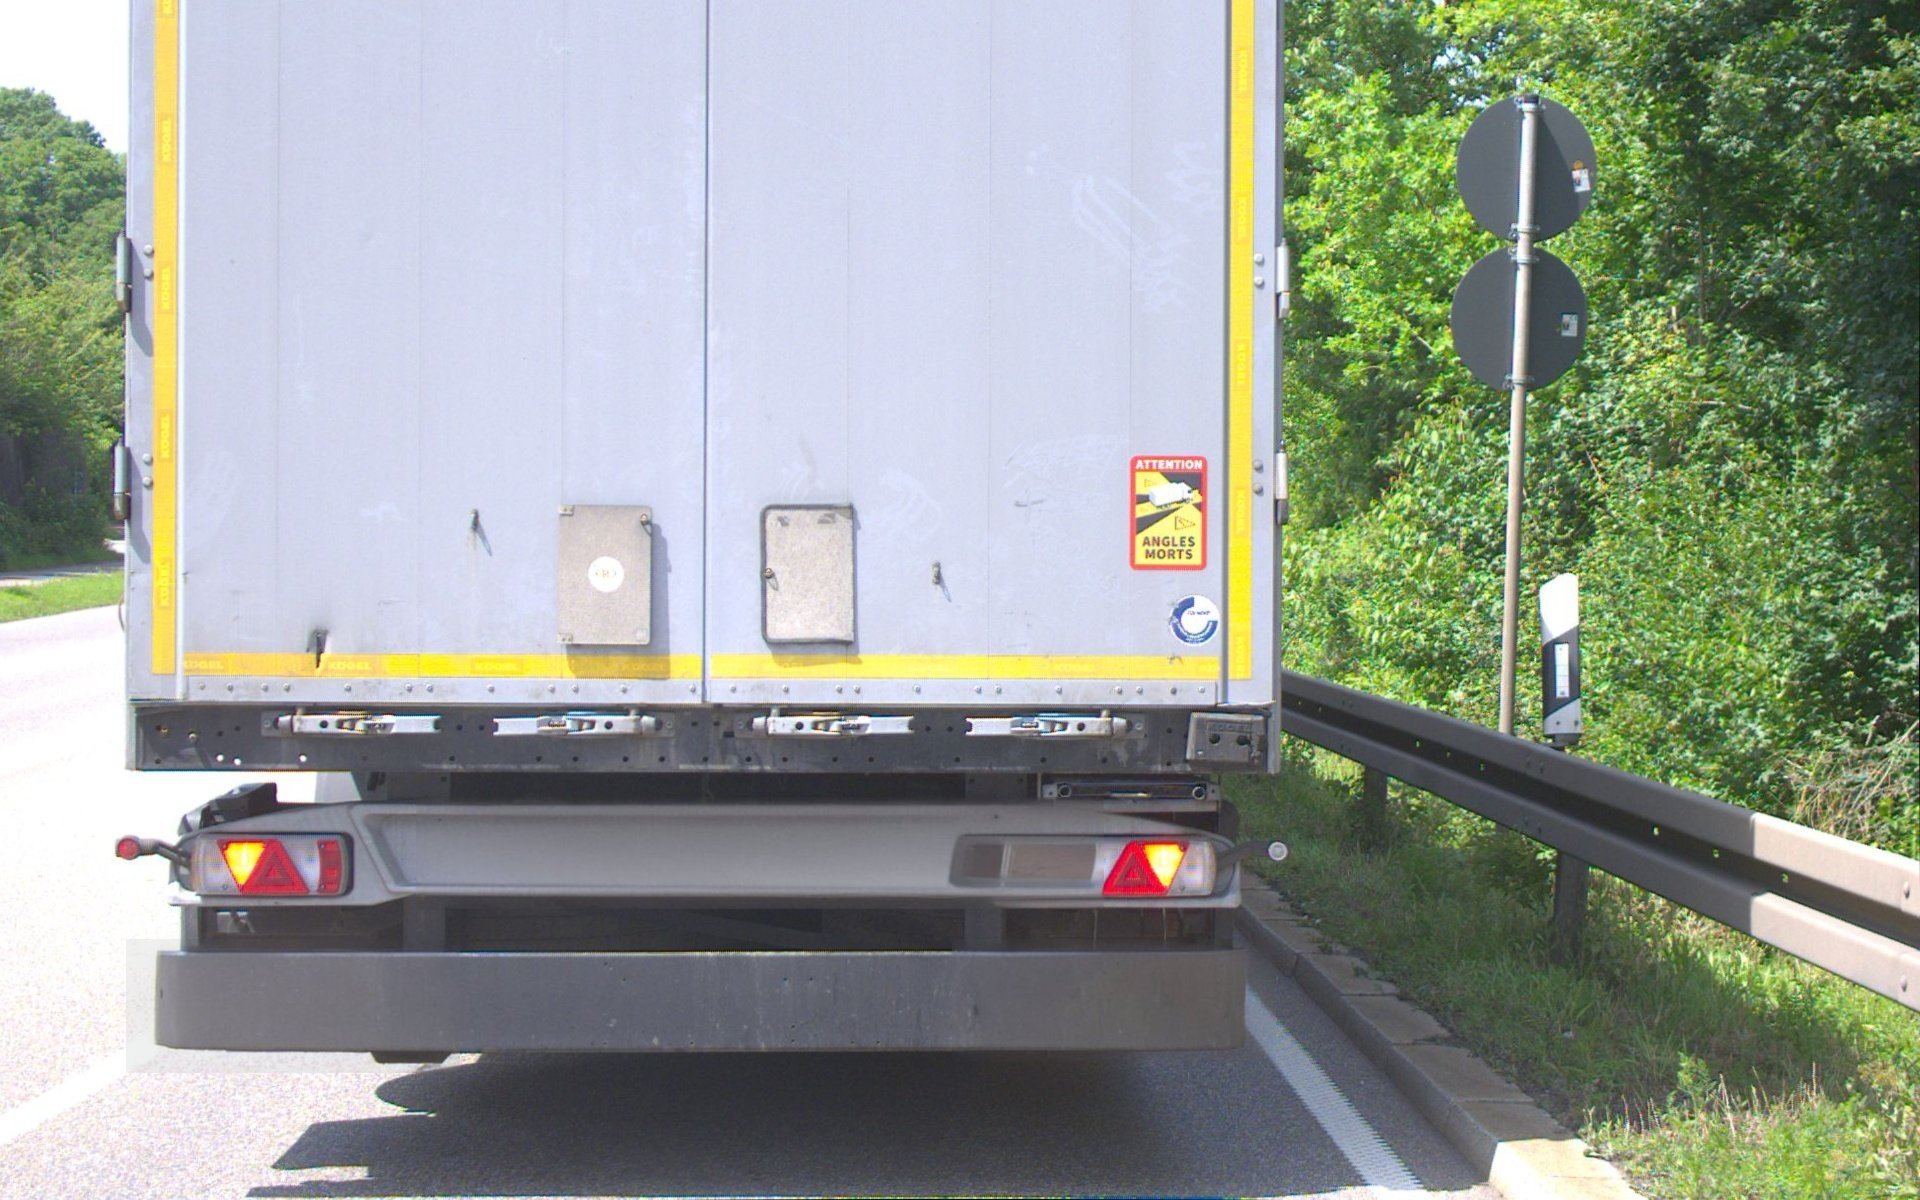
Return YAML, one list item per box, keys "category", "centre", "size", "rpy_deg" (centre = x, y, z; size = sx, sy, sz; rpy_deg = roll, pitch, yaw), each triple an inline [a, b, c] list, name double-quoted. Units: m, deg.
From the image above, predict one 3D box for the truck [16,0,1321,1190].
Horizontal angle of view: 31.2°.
- category: "truck"
  centre: [-0.754, -0.899, 13.253]
  size: [2.757, 4.016, 11.925]
  rpy_deg: [0, 1, -1]
